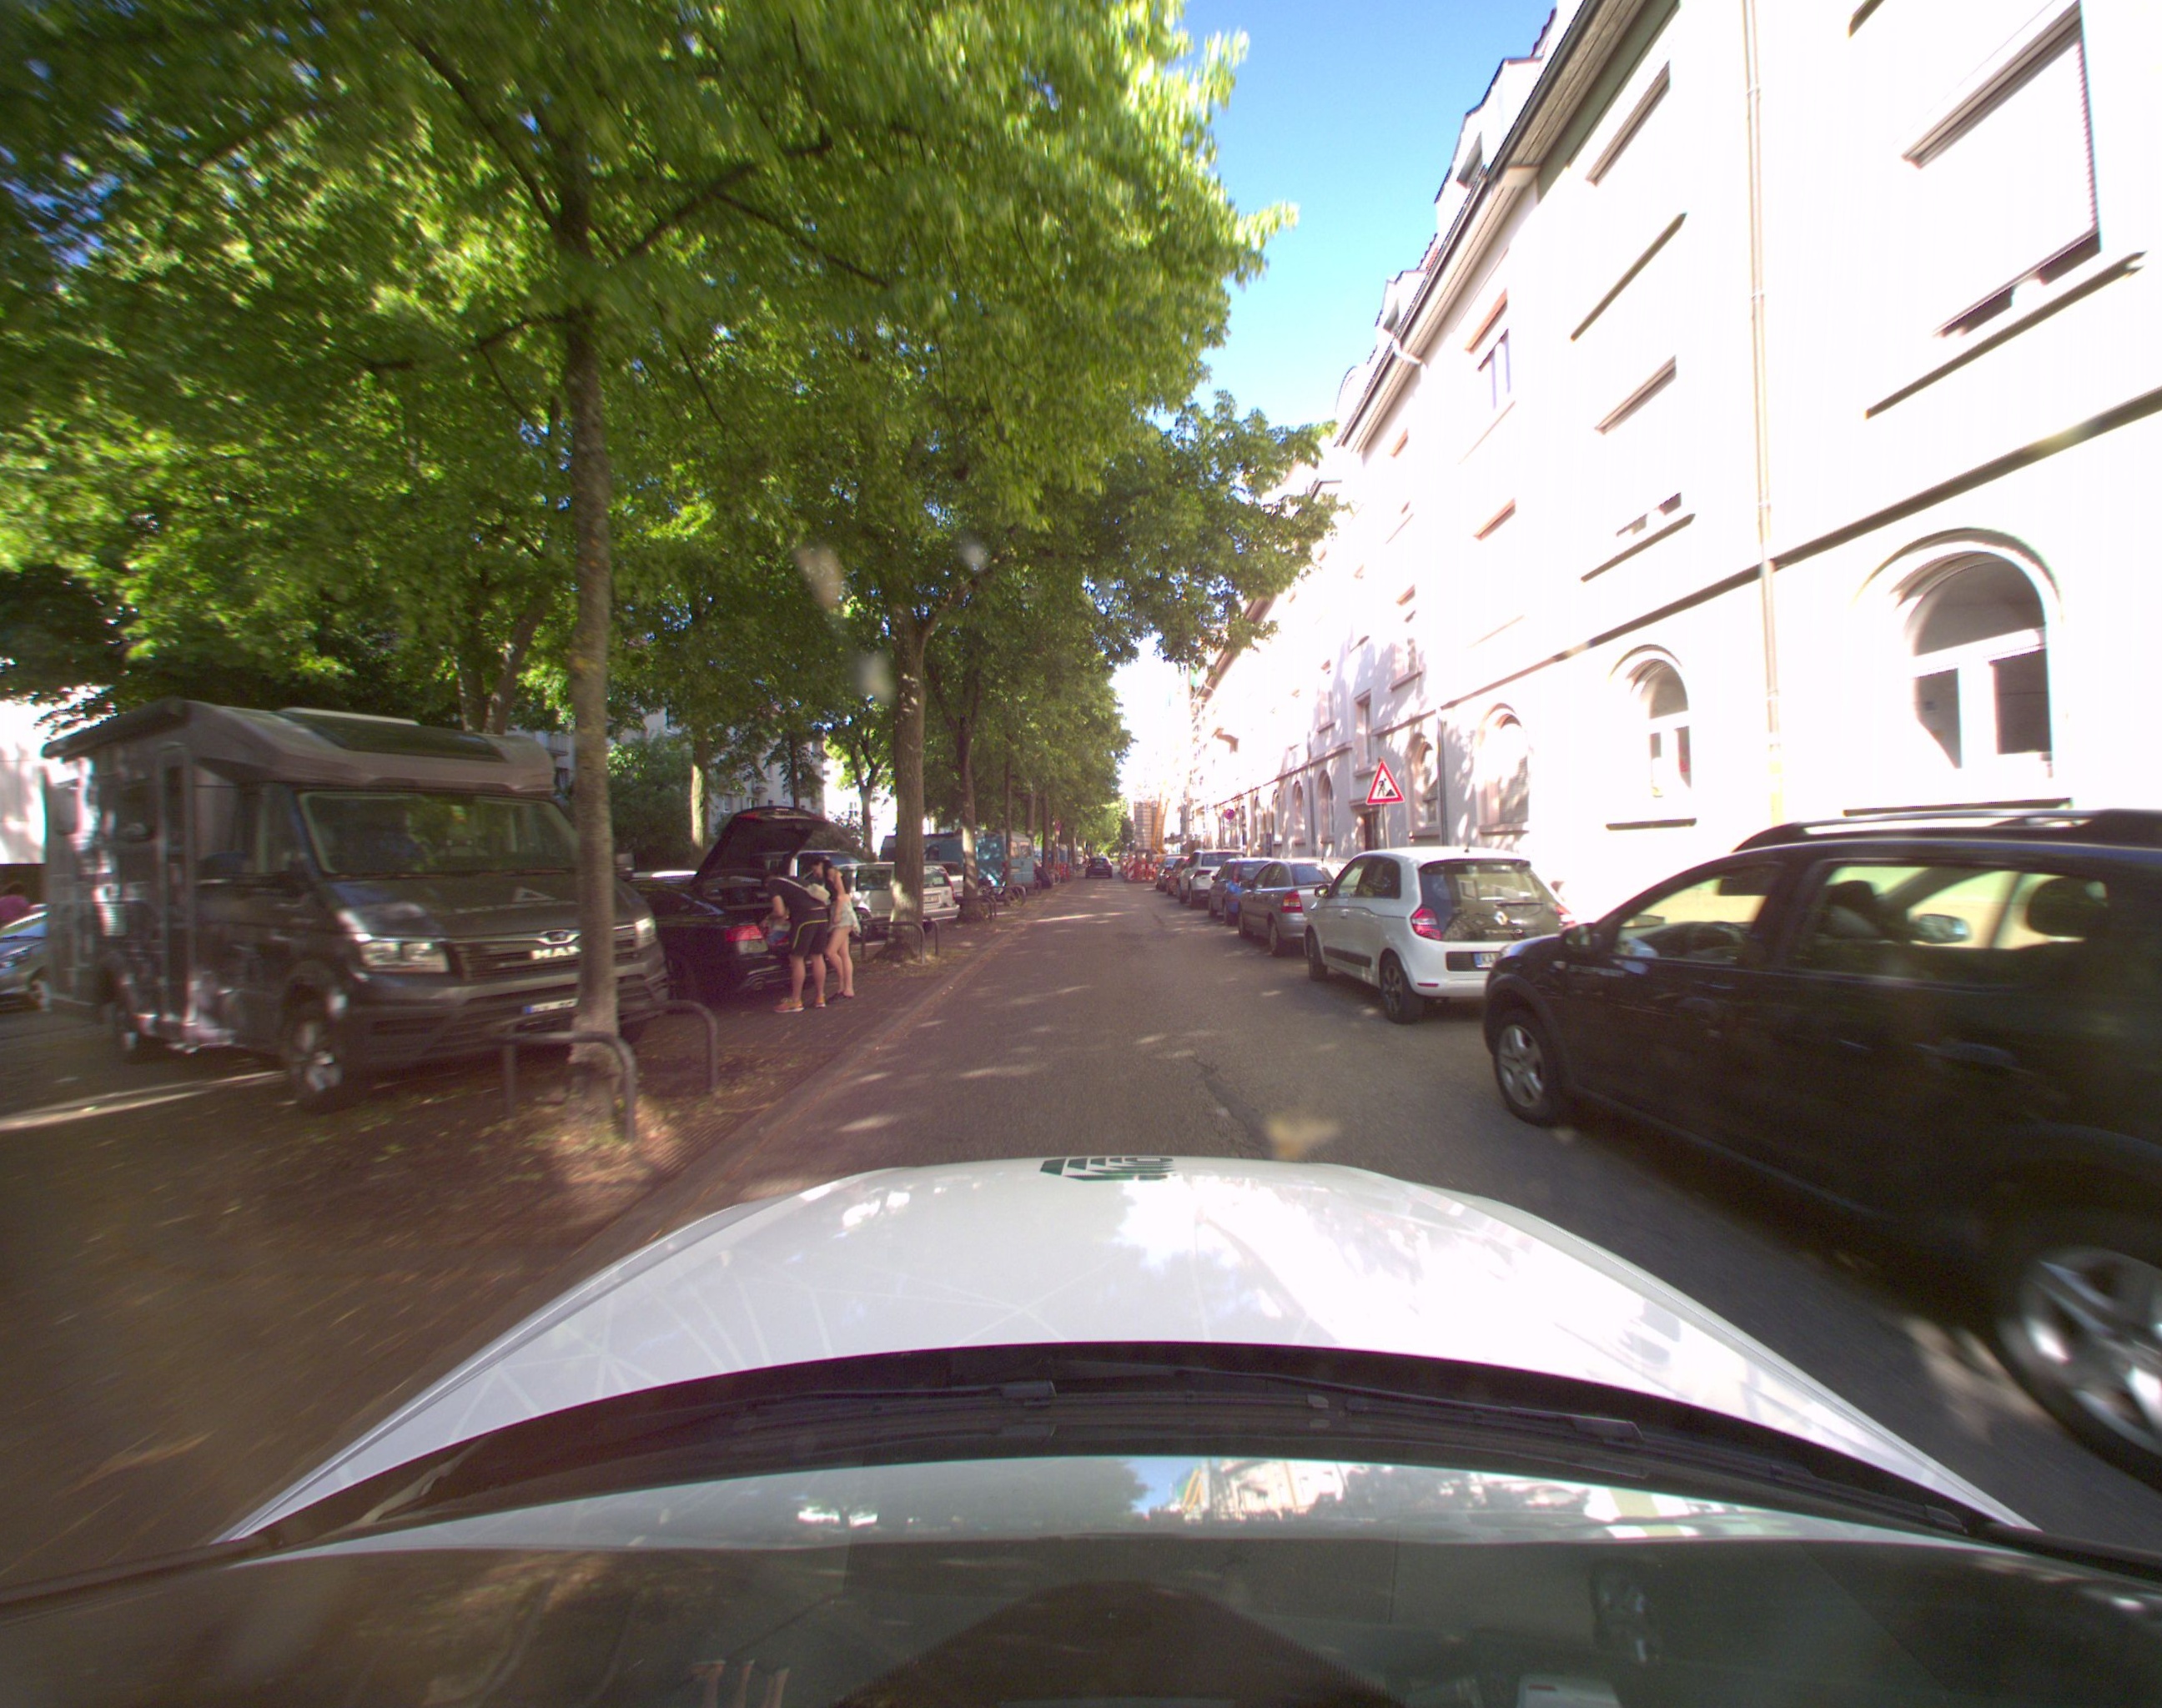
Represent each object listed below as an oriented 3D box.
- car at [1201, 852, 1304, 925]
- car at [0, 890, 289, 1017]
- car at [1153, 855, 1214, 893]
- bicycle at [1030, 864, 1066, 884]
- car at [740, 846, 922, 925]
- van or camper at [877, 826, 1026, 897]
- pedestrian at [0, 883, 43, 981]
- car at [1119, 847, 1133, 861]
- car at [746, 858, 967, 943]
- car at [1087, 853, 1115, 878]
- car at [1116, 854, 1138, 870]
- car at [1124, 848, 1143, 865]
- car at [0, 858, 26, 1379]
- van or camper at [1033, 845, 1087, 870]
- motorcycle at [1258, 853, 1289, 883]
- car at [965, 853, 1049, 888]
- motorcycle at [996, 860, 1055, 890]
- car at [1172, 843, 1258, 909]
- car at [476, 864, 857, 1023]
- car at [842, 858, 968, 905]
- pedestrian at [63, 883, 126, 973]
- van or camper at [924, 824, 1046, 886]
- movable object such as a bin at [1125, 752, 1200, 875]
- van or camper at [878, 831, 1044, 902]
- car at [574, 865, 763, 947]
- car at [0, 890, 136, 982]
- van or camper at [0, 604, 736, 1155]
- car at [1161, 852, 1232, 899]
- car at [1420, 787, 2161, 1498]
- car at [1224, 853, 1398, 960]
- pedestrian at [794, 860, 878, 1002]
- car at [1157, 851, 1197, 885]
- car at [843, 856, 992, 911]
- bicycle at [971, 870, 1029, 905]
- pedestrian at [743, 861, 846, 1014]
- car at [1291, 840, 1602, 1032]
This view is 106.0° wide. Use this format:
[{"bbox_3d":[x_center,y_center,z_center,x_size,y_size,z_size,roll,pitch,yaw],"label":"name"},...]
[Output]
[{"bbox_3d":[3.752,0.696,18.380,1.611,1.413,3.789,-2,0,2],"label":"car"},{"bbox_3d":[-14.994,1.422,12.603,1.657,1.499,3.771,-2,0,2],"label":"car"},{"bbox_3d":[4.195,0.767,34.034,1.987,1.409,4.501,-1,0,1],"label":"car"},{"bbox_3d":[-1.785,1.053,43.703,1.879,1.006,0.433,-2,0,25],"label":"bicycle"},{"bbox_3d":[-6.339,0.774,20.509,4.501,1.764,1.822,-2,0,32],"label":"car"},{"bbox_3d":[-5.341,0.347,33.380,5.811,2.637,2.269,-2,0,31],"label":"van or camper"},{"bbox_3d":[-20.486,1.485,15.608,0.497,1.826,0.463,-3,0,1],"label":"pedestrian"},{"bbox_3d":[6.342,-0.028,115.442,1.791,1.800,3.586,-3,0,0],"label":"car"},{"bbox_3d":[-4.552,0.885,16.288,4.431,1.443,1.744,-2,0,34],"label":"car"},{"bbox_3d":[1.339,0.754,54.910,1.791,1.503,3.586,-3,0,0],"label":"car"},{"bbox_3d":[4.175,0.719,73.859,1.791,1.385,3.586,-3,0,0],"label":"car"},{"bbox_3d":[5.702,0.260,89.011,1.791,1.800,3.586,-3,0,0],"label":"car"},{"bbox_3d":[-5.291,0.861,2.616,3.948,1.507,1.768,-2,0,30],"label":"car"},{"bbox_3d":[-2.291,0.408,88.132,5.280,2.474,2.308,-2,0,33],"label":"van or camper"},{"bbox_3d":[8.077,0.587,34.309,0.547,1.193,1.831,-3,0,-10],"label":"motorcycle"},{"bbox_3d":[-3.885,0.861,42.496,3.916,1.629,1.834,-2,0,27],"label":"car"},{"bbox_3d":[-2.512,0.947,37.265,2.534,1.258,0.765,-2,0,9],"label":"motorcycle"},{"bbox_3d":[3.786,0.574,23.759,1.810,1.674,4.675,-2,0,2],"label":"car"},{"bbox_3d":[-4.799,0.905,9.311,4.274,1.424,1.685,-2,0,28],"label":"car"},{"bbox_3d":[-5.842,0.907,26.901,3.947,1.431,1.732,-2,0,32],"label":"car"},{"bbox_3d":[-19.747,1.460,16.314,0.497,1.727,0.559,-3,0,1],"label":"pedestrian"},{"bbox_3d":[-5.513,0.078,46.497,6.592,3.240,2.511,-2,0,30],"label":"van or camper"},{"bbox_3d":[4.740,-2.242,47.191,3.445,6.759,2.383,-2,-1,34],"label":"movable object such as a bin"},{"bbox_3d":[-4.298,0.467,29.109,5.447,2.275,2.233,-3,0,25],"label":"van or camper"},{"bbox_3d":[-8.281,0.995,16.317,3.527,1.424,1.686,-2,0,30],"label":"car"},{"bbox_3d":[-19.419,1.498,14.163,1.619,1.482,3.613,-3,0,2],"label":"car"},{"bbox_3d":[-6.466,0.243,7.038,7.157,2.929,2.328,-2,0,28],"label":"van or camper"},{"bbox_3d":[4.072,0.717,29.269,1.786,1.523,3.959,-2,0,-3],"label":"car"},{"bbox_3d":[3.221,0.618,3.447,1.718,1.596,4.155,-2,0,-2],"label":"car"},{"bbox_3d":[3.509,0.714,13.177,1.625,1.413,4.088,-2,0,0],"label":"car"},{"bbox_3d":[-2.629,0.807,8.759,0.609,1.456,0.522,-2,0,24],"label":"pedestrian"},{"bbox_3d":[4.535,0.641,38.785,1.586,1.530,2.780,-2,0,0],"label":"car"},{"bbox_3d":[-4.748,0.853,23.550,3.905,1.443,1.858,-2,0,29],"label":"car"},{"bbox_3d":[-2.514,1.028,25.391,1.730,1.006,0.507,-2,0,-29],"label":"bicycle"},{"bbox_3d":[-2.884,0.813,8.227,0.703,1.456,0.600,-2,0,24],"label":"pedestrian"},{"bbox_3d":[3.492,0.675,8.545,1.625,1.534,3.592,-2,0,0],"label":"car"}]
